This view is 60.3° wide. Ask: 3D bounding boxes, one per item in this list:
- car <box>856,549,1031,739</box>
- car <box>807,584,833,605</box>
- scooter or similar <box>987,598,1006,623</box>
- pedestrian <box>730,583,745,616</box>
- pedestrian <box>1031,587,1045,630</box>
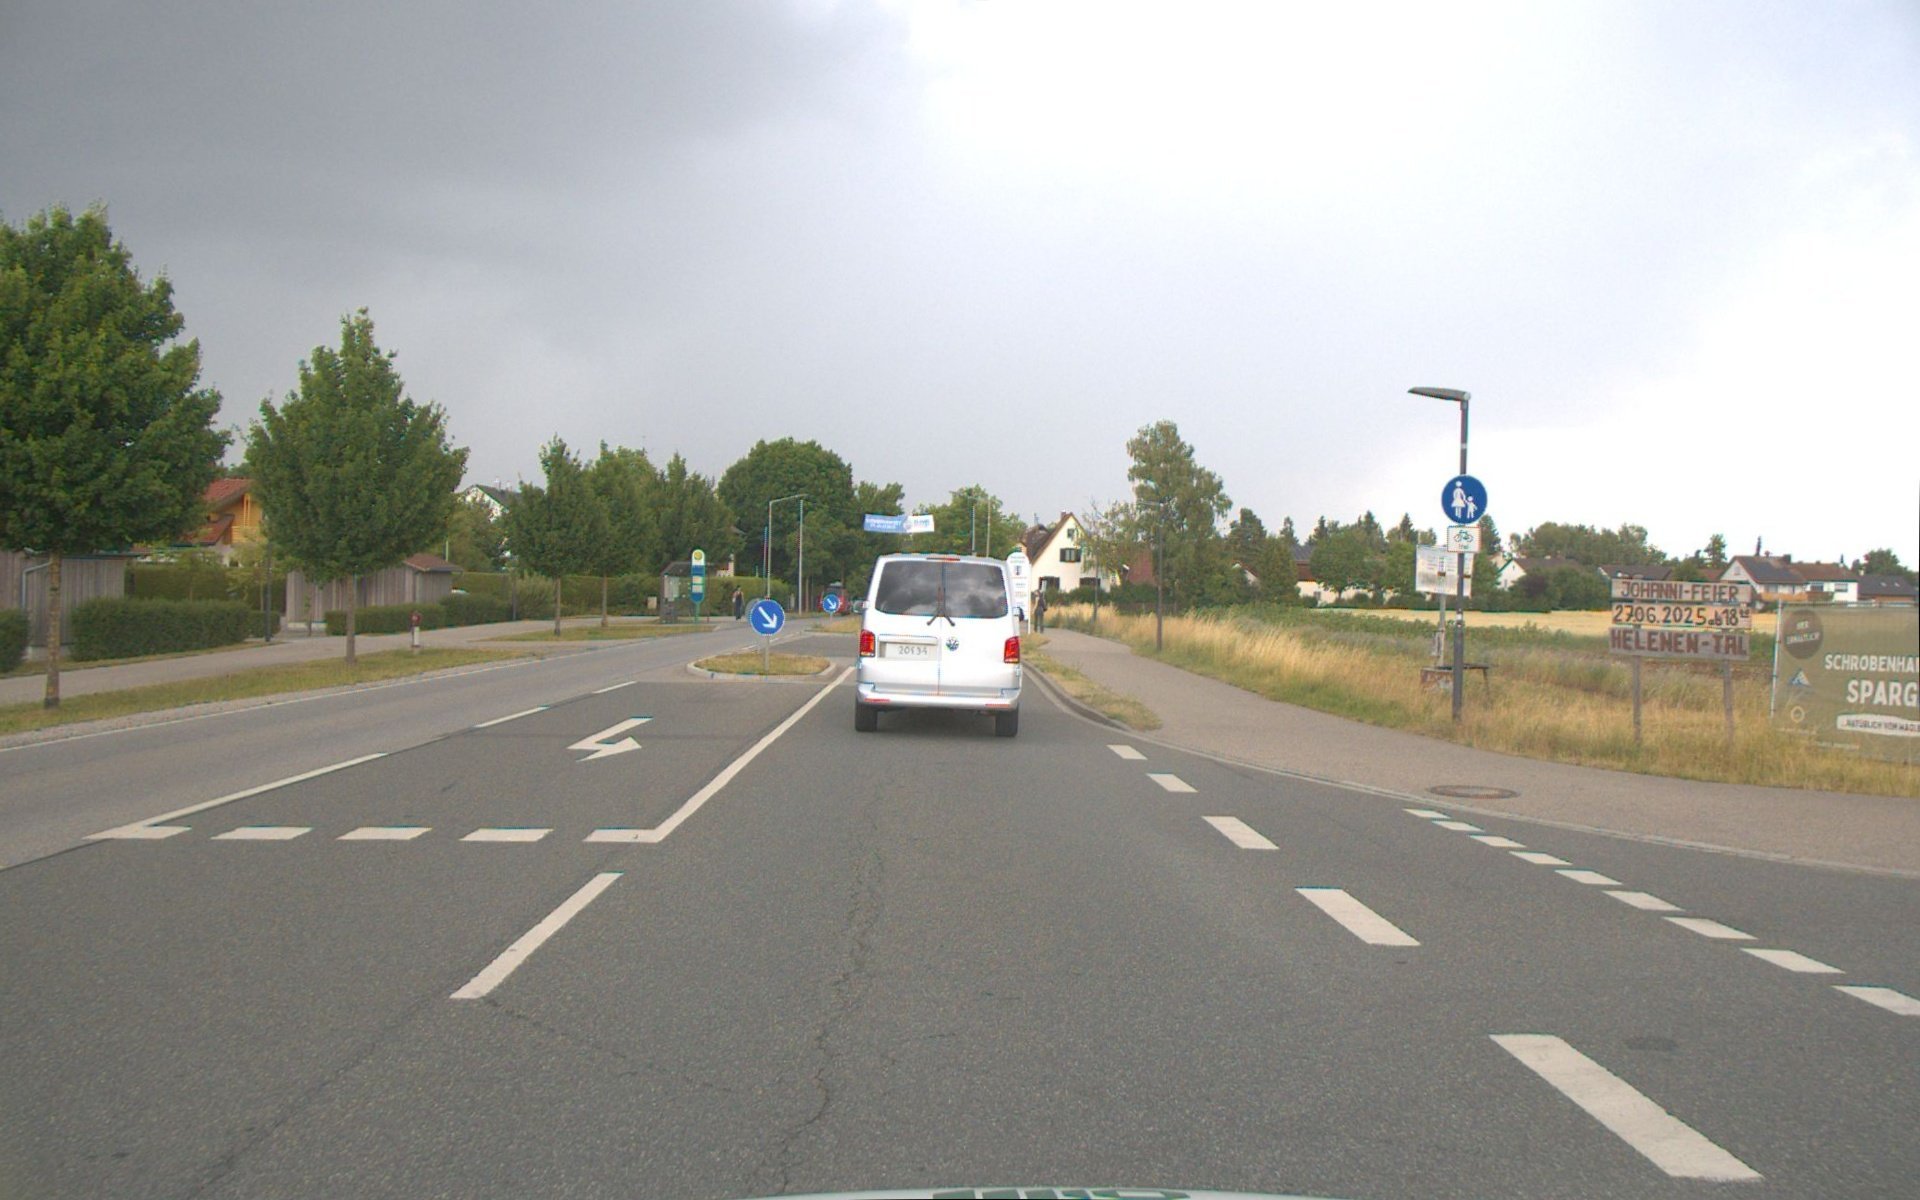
[{"bbox_3d":[-0.261,0.444,19.428,1.789,1.947,3.998,2,0,-3],"label":"car"},{"bbox_3d":[-9.928,-0.381,117.372,1.620,1.454,3.601,-1,1,-1],"label":"car"},{"bbox_3d":[1.682,0.494,75.971,0.831,1.123,1.094,-1,0,-1],"label":"scooter or similar"},{"bbox_3d":[-10.654,-0.021,79.320,0.611,1.551,0.679,-1,0,-2],"label":"pedestrian"},{"bbox_3d":[3.217,0.358,68.149,0.475,1.762,0.643,-1,0,7],"label":"pedestrian"}]
